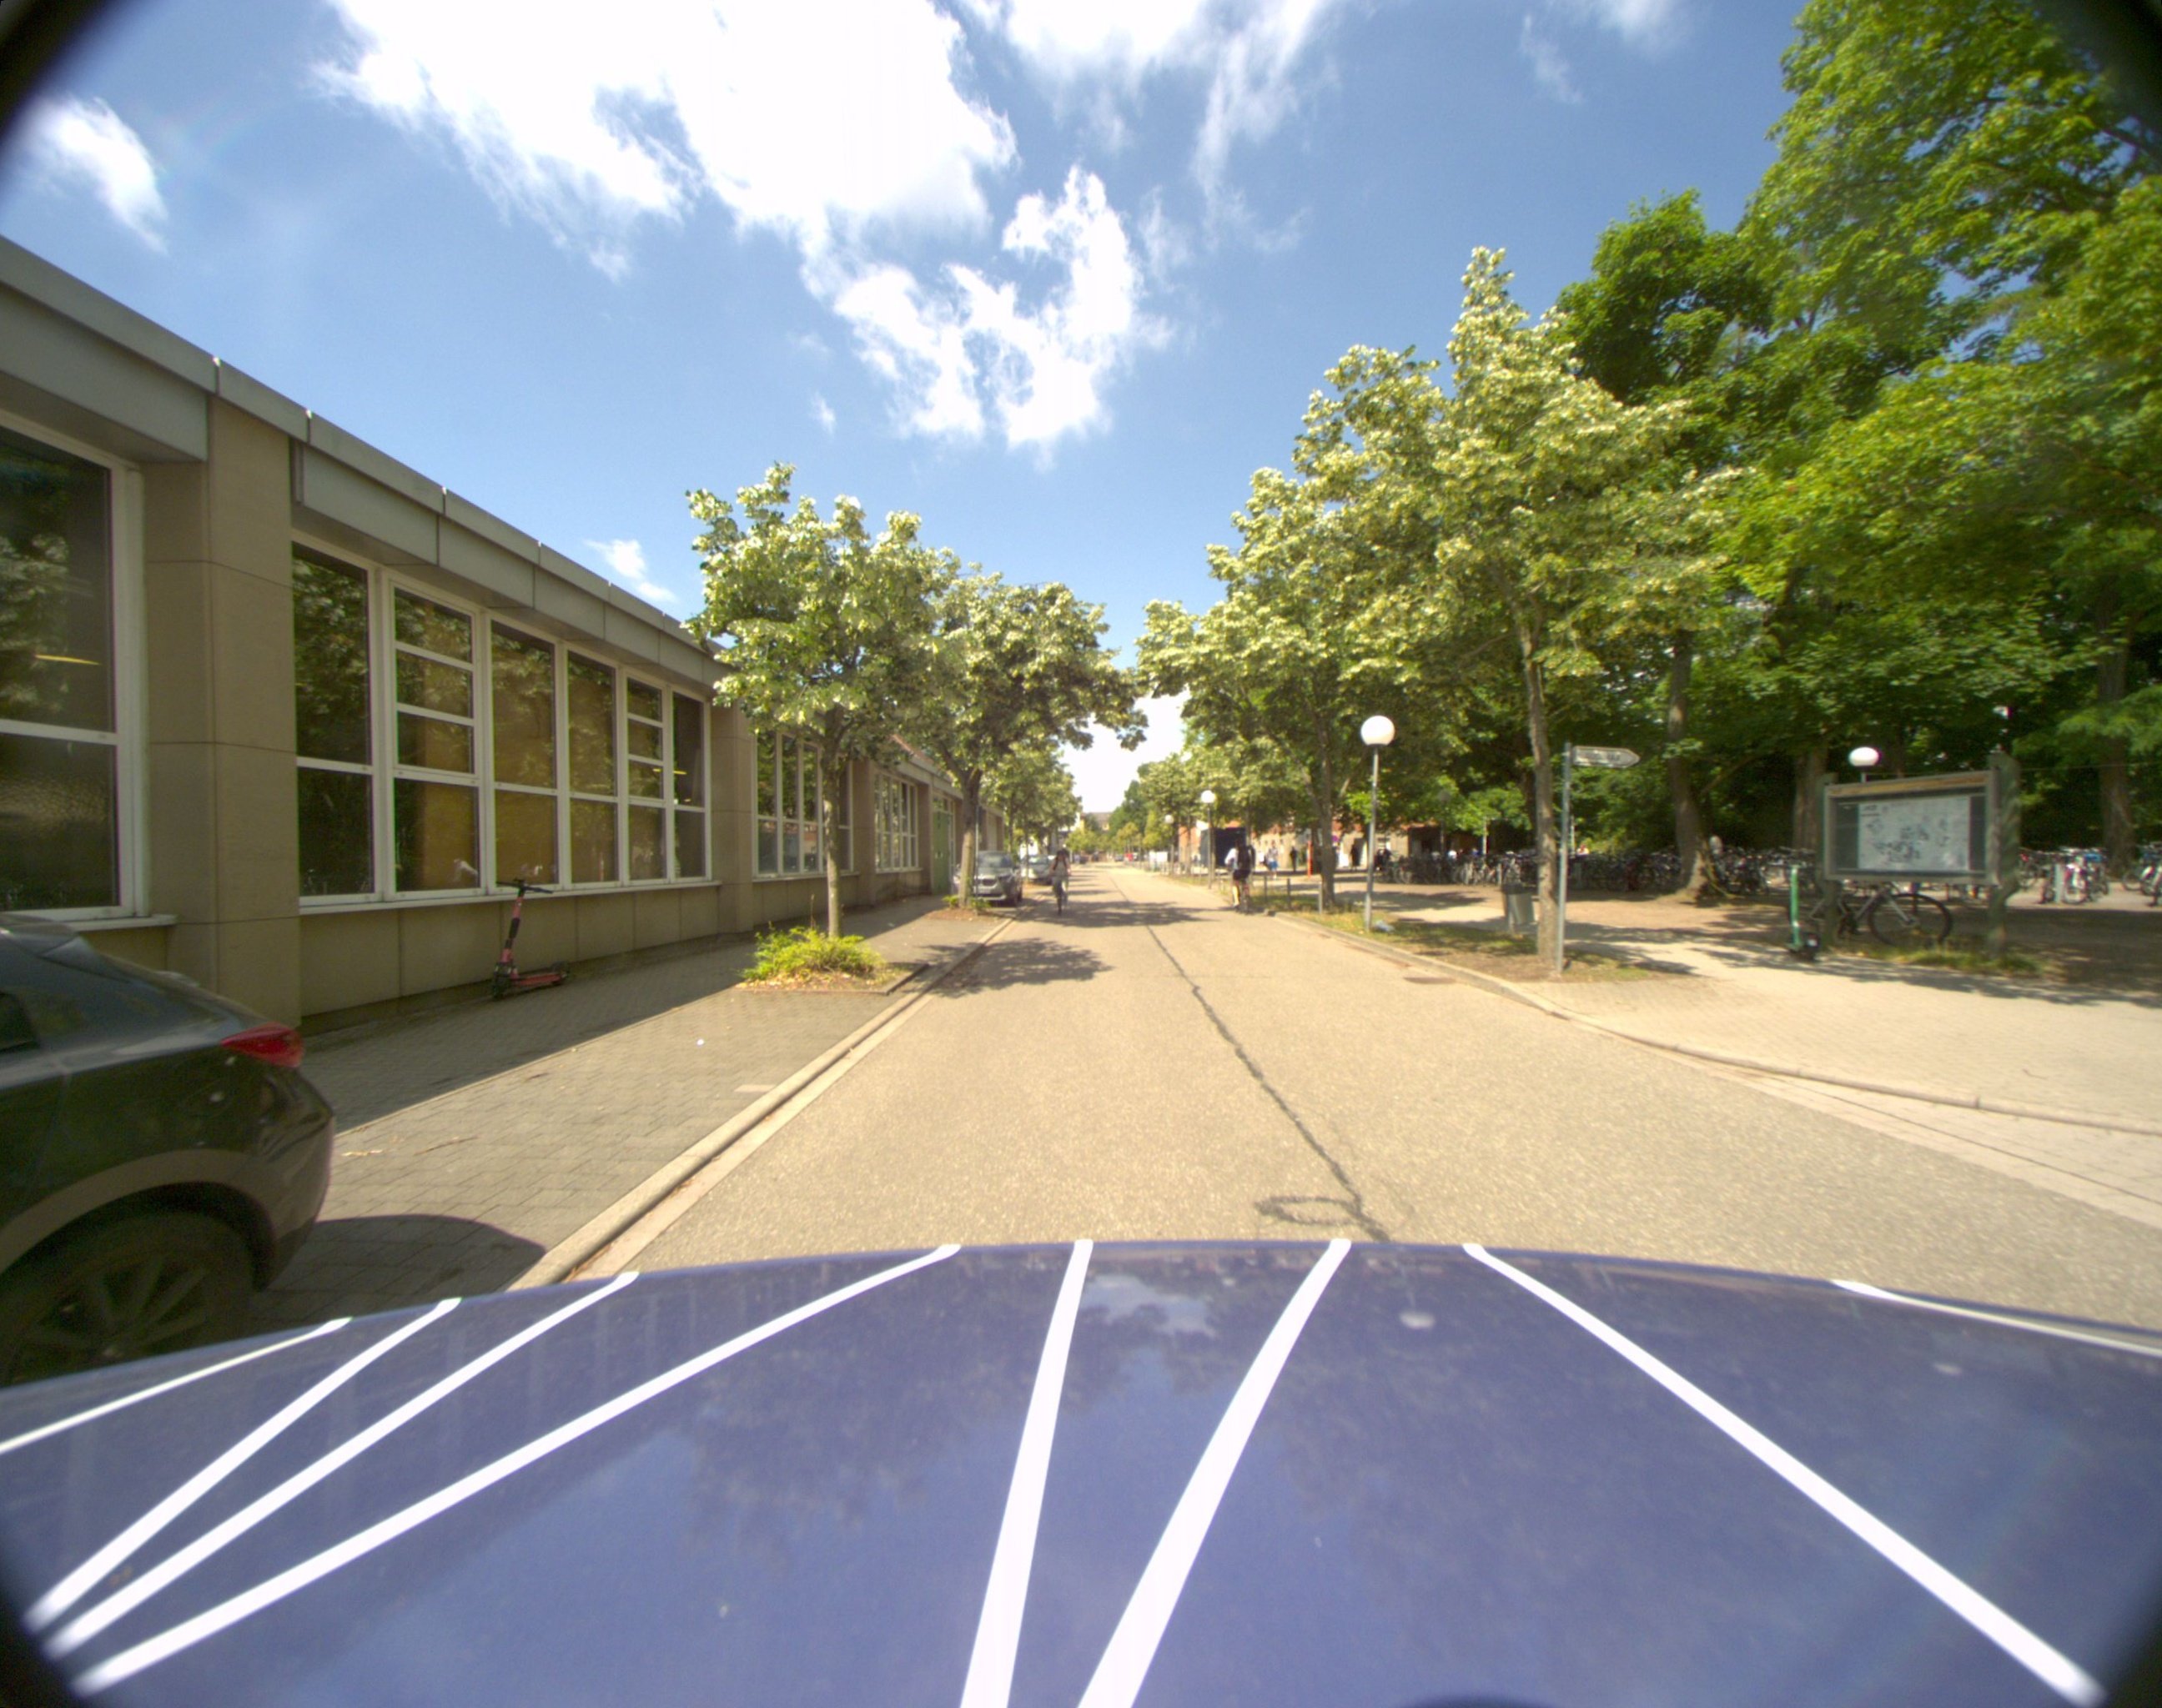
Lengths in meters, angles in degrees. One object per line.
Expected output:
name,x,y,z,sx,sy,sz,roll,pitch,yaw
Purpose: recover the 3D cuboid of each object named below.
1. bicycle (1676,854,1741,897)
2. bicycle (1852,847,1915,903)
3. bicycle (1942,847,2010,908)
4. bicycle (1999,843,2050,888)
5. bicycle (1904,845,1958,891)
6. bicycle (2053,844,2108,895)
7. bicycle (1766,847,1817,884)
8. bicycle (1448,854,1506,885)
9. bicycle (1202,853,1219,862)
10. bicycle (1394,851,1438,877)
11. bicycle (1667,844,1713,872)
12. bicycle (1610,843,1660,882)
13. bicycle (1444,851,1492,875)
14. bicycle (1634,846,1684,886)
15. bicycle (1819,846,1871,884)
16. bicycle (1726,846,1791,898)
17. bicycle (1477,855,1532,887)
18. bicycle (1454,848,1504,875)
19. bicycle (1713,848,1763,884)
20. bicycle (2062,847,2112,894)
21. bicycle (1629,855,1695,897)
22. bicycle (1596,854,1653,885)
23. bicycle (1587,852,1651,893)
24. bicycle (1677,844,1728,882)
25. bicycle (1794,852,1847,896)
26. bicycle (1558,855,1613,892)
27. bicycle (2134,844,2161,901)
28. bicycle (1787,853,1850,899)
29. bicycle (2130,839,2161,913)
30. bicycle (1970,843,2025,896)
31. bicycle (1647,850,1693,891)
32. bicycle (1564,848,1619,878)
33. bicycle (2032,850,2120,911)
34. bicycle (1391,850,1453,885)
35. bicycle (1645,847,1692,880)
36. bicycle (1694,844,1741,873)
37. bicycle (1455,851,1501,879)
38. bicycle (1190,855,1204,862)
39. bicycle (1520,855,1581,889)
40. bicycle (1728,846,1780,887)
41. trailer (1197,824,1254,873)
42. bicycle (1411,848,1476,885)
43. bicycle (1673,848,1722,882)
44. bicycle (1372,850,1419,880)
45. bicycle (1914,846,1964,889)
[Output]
bicycle,16.808,0.547,20.318,2.789,1.009,0.880,-2,0,-41
bicycle,18.662,0.446,17.636,2.889,1.171,0.880,-2,0,-41
bicycle,18.930,0.456,16.105,2.714,1.172,0.880,-2,0,-41
bicycle,24.944,0.295,20.079,2.064,1.126,0.638,-1,0,-34
bicycle,22.126,0.359,19.762,2.064,1.126,0.638,-1,0,-34
bicycle,23.364,0.348,17.748,2.064,1.126,0.638,-1,0,-34
bicycle,22.299,0.346,23.847,1.970,1.083,0.546,-2,1,-28
bicycle,13.729,0.528,26.342,2.157,1.002,0.676,-2,1,-28
bicycle,16.536,0.430,97.212,2.027,1.055,0.663,-1,1,0
bicycle,14.686,0.427,33.321,1.863,1.083,0.546,-2,1,-20
bicycle,25.171,0.159,31.391,1.960,1.085,0.596,-2,2,-21
bicycle,18.585,0.277,25.471,2.064,1.227,0.638,-2,0,-34
bicycle,17.365,0.390,34.096,1.967,0.997,0.537,-2,1,-9
bicycle,18.928,0.375,24.853,2.064,1.227,0.638,-2,0,-34
bicycle,23.110,0.316,22.979,1.970,1.083,0.546,-2,1,-28
bicycle,17.442,0.424,19.530,2.914,1.213,0.880,-2,0,-41
bicycle,14.093,0.544,25.249,1.894,1.002,0.676,-2,1,-28
bicycle,17.302,0.320,33.046,1.967,1.119,0.537,-2,1,-9
bicycle,21.448,0.377,24.781,1.970,1.083,0.546,-2,1,-28
bicycle,25.608,0.406,19.328,2.064,1.126,0.638,-1,0,-34
bicycle,16.169,0.588,21.110,2.839,1.044,0.880,-2,0,-41
bicycle,19.697,0.553,27.521,1.968,1.083,0.546,-2,1,-16
bicycle,15.588,0.512,21.982,2.757,1.080,0.880,-2,0,-41
bicycle,19.401,0.275,23.692,2.064,1.126,0.638,-2,0,-34
bicycle,20.825,0.543,21.389,2.064,1.126,0.638,-2,0,-34
bicycle,15.163,0.565,22.796,2.656,1.002,0.676,-2,0,-41
bicycle,23.784,0.384,16.711,2.064,1.126,0.638,-3,1,-34
bicycle,18.006,0.514,18.528,2.739,0.997,0.880,-2,0,-41
bicycle,20.492,0.374,14.140,2.939,1.279,0.880,-2,0,-41
bicycle,22.683,0.365,18.786,2.063,1.126,0.638,-4,1,-34
bicycle,18.379,0.494,23.680,2.063,1.126,0.478,-4,2,-34
bicycle,19.434,0.342,28.922,1.968,1.083,0.546,-2,1,-16
bicycle,19.717,0.481,15.111,2.689,1.070,0.880,-2,0,-41
bicycle,12.749,0.487,28.418,2.062,1.227,0.808,-2,1,-16
bicycle,20.830,0.331,26.937,1.970,1.083,0.546,-2,1,-28
bicycle,25.546,0.176,30.495,1.960,1.085,0.596,-2,2,-21
bicycle,16.411,0.456,31.387,1.863,1.083,0.546,-2,1,-20
bicycle,17.069,0.719,112.059,1.955,1.024,0.518,-1,1,0
bicycle,14.979,0.568,24.208,2.157,1.002,0.676,-2,1,-29
bicycle,20.054,0.364,22.626,2.064,1.151,0.638,-2,0,-34
trailer,9.565,-0.355,50.943,2.703,3.009,6.266,-2,0,1
bicycle,13.074,0.436,27.408,2.061,1.227,0.808,-3,1,-16
bicycle,20.829,0.365,25.660,1.970,1.083,0.546,-2,1,-28
bicycle,12.422,0.445,30.018,1.780,1.125,0.458,-1,1,-16
bicycle,24.096,0.370,21.323,2.064,1.126,0.638,-2,0,-34
